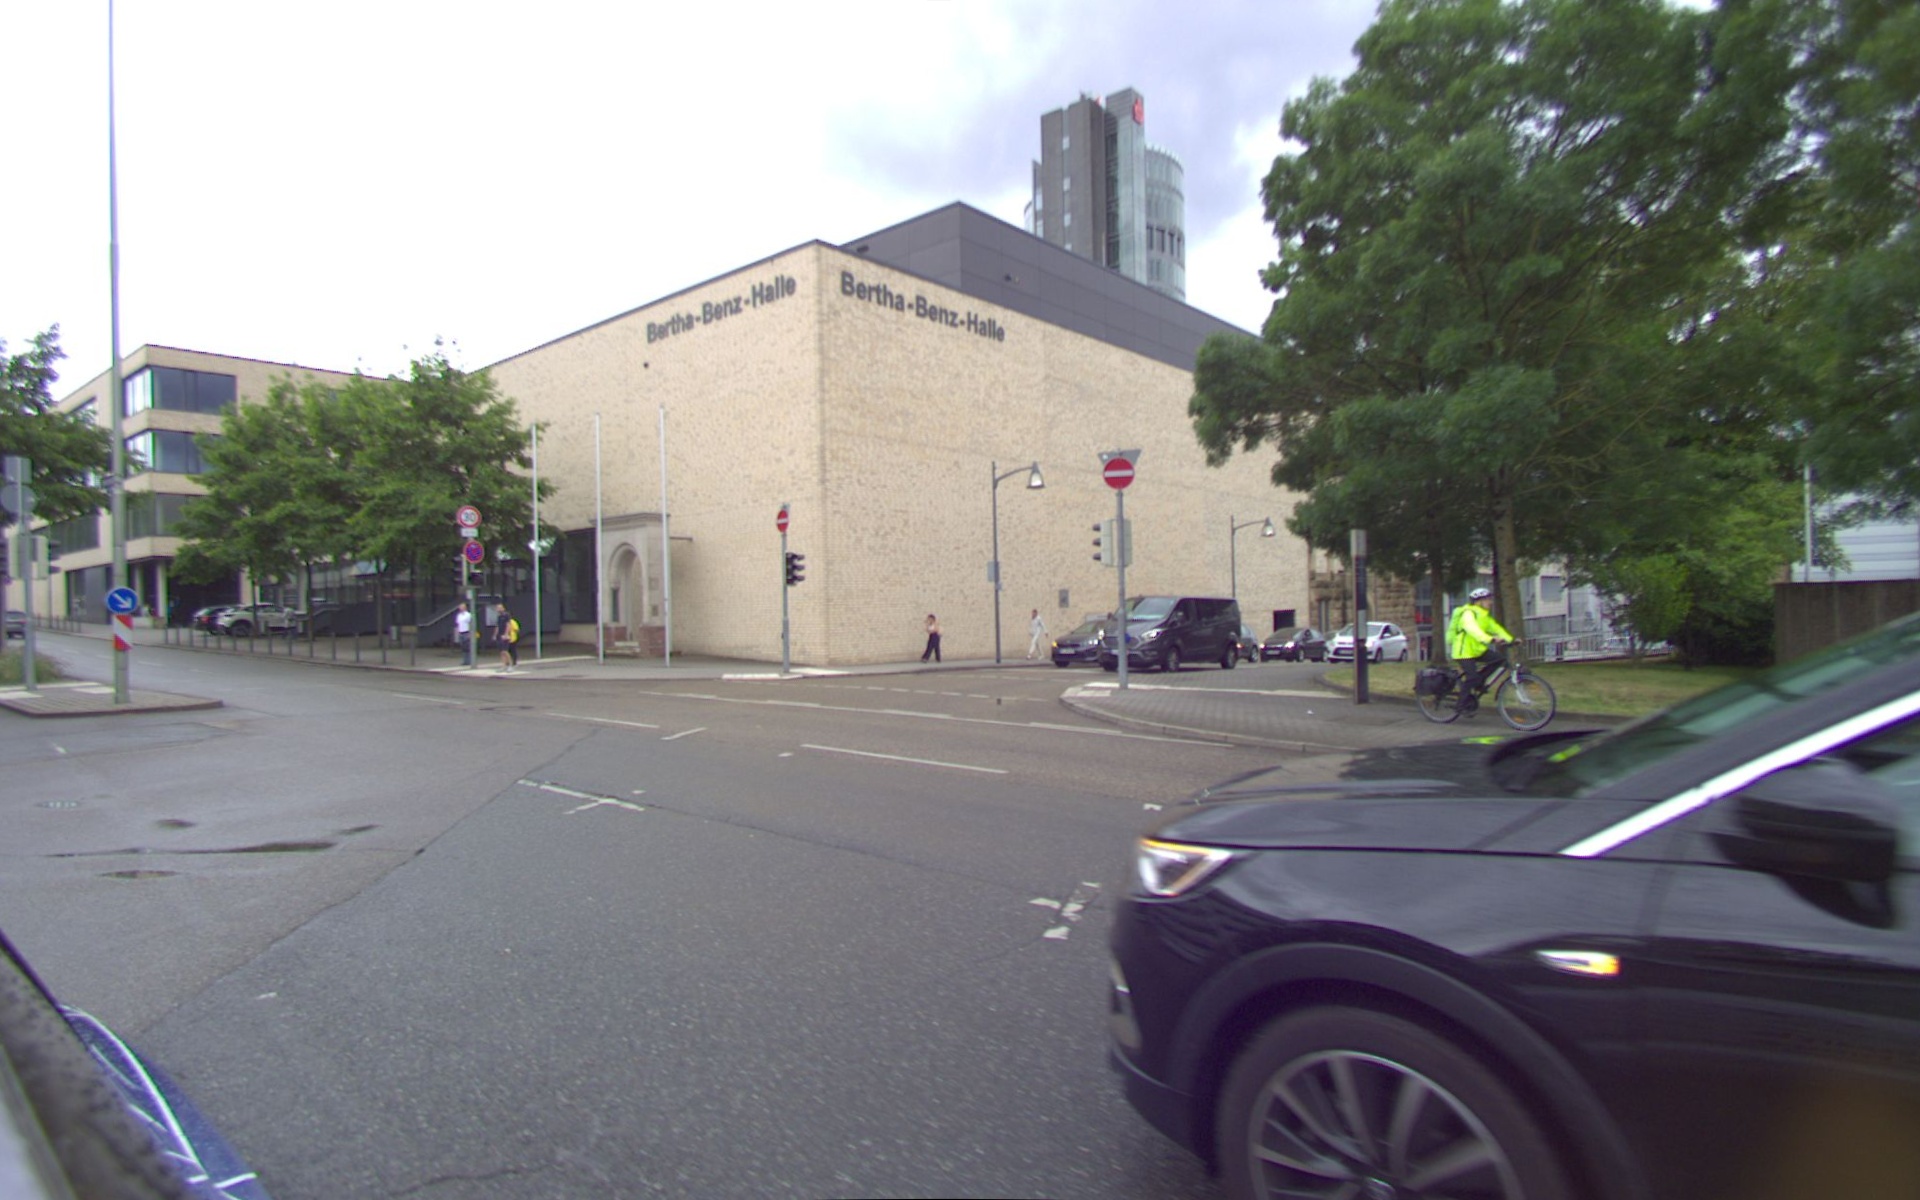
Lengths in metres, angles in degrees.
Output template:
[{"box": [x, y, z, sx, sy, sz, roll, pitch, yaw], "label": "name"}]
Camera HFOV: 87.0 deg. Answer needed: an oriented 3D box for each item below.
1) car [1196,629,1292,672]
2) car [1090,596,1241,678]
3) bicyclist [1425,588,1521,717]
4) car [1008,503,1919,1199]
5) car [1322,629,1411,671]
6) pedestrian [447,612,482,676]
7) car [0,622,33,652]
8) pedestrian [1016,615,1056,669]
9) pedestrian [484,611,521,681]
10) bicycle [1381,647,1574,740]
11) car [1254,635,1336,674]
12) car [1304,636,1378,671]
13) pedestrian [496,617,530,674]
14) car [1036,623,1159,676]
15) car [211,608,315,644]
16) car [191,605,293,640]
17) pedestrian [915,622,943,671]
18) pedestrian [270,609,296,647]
[{"box": [10.410, 1.854, 36.955, 1.998, 1.469, 3.947, -1, -4, 39], "label": "car"}, {"box": [5.456, 1.026, 26.395, 1.997, 1.940, 4.732, -1, -4, 37], "label": "car"}, {"box": [6.119, 0.598, 12.068, 0.812, 1.453, 0.833, -1, 1, 42], "label": "bicyclist"}, {"box": [2.317, 0.657, 1.687, 4.293, 1.606, 1.789, -1, -1, 41], "label": "car"}, {"box": [15.065, 1.861, 37.426, 1.998, 1.469, 3.947, -1, -4, 39], "label": "car"}, {"box": [-13.908, 1.221, 28.399, 0.690, 1.744, 0.589, -1, 1, 35], "label": "pedestrian"}, {"box": [-48.896, 1.897, 51.641, 4.295, 1.481, 1.655, -1, -3, 39], "label": "car"}, {"box": [2.527, 1.374, 33.385, 0.806, 1.713, 1.100, -1, 1, 38], "label": "pedestrian"}, {"box": [-11.965, 1.186, 26.450, 0.691, 1.784, 0.588, -1, 1, 39], "label": "pedestrian"}, {"box": [6.108, 1.061, 11.998, 1.866, 0.914, 0.876, -1, 1, 42], "label": "bicycle"}, {"box": [13.551, 2.203, 40.854, 1.997, 1.469, 3.949, -1, -4, 37], "label": "car"}, {"box": [16.786, 2.364, 44.508, 1.997, 1.469, 3.949, -1, -4, 37], "label": "car"}, {"box": [-12.363, 1.239, 27.987, 0.691, 1.528, 0.588, -1, 1, 39], "label": "pedestrian"}, {"box": [4.139, 1.486, 29.991, 1.996, 1.453, 3.951, -1, -4, 36], "label": "car"}, {"box": [-34.959, 1.263, 50.819, 2.001, 1.597, 3.943, -1, 1, 44], "label": "car"}, {"box": [-36.992, 1.125, 52.193, 2.001, 1.597, 3.943, -1, 1, 44], "label": "car"}, {"box": [-0.907, 1.339, 29.600, 0.474, 1.386, 0.614, -1, 1, 41], "label": "pedestrian"}, {"box": [-30.485, 1.234, 45.554, 0.793, 1.659, 0.977, -3, 1, -43], "label": "pedestrian"}]
